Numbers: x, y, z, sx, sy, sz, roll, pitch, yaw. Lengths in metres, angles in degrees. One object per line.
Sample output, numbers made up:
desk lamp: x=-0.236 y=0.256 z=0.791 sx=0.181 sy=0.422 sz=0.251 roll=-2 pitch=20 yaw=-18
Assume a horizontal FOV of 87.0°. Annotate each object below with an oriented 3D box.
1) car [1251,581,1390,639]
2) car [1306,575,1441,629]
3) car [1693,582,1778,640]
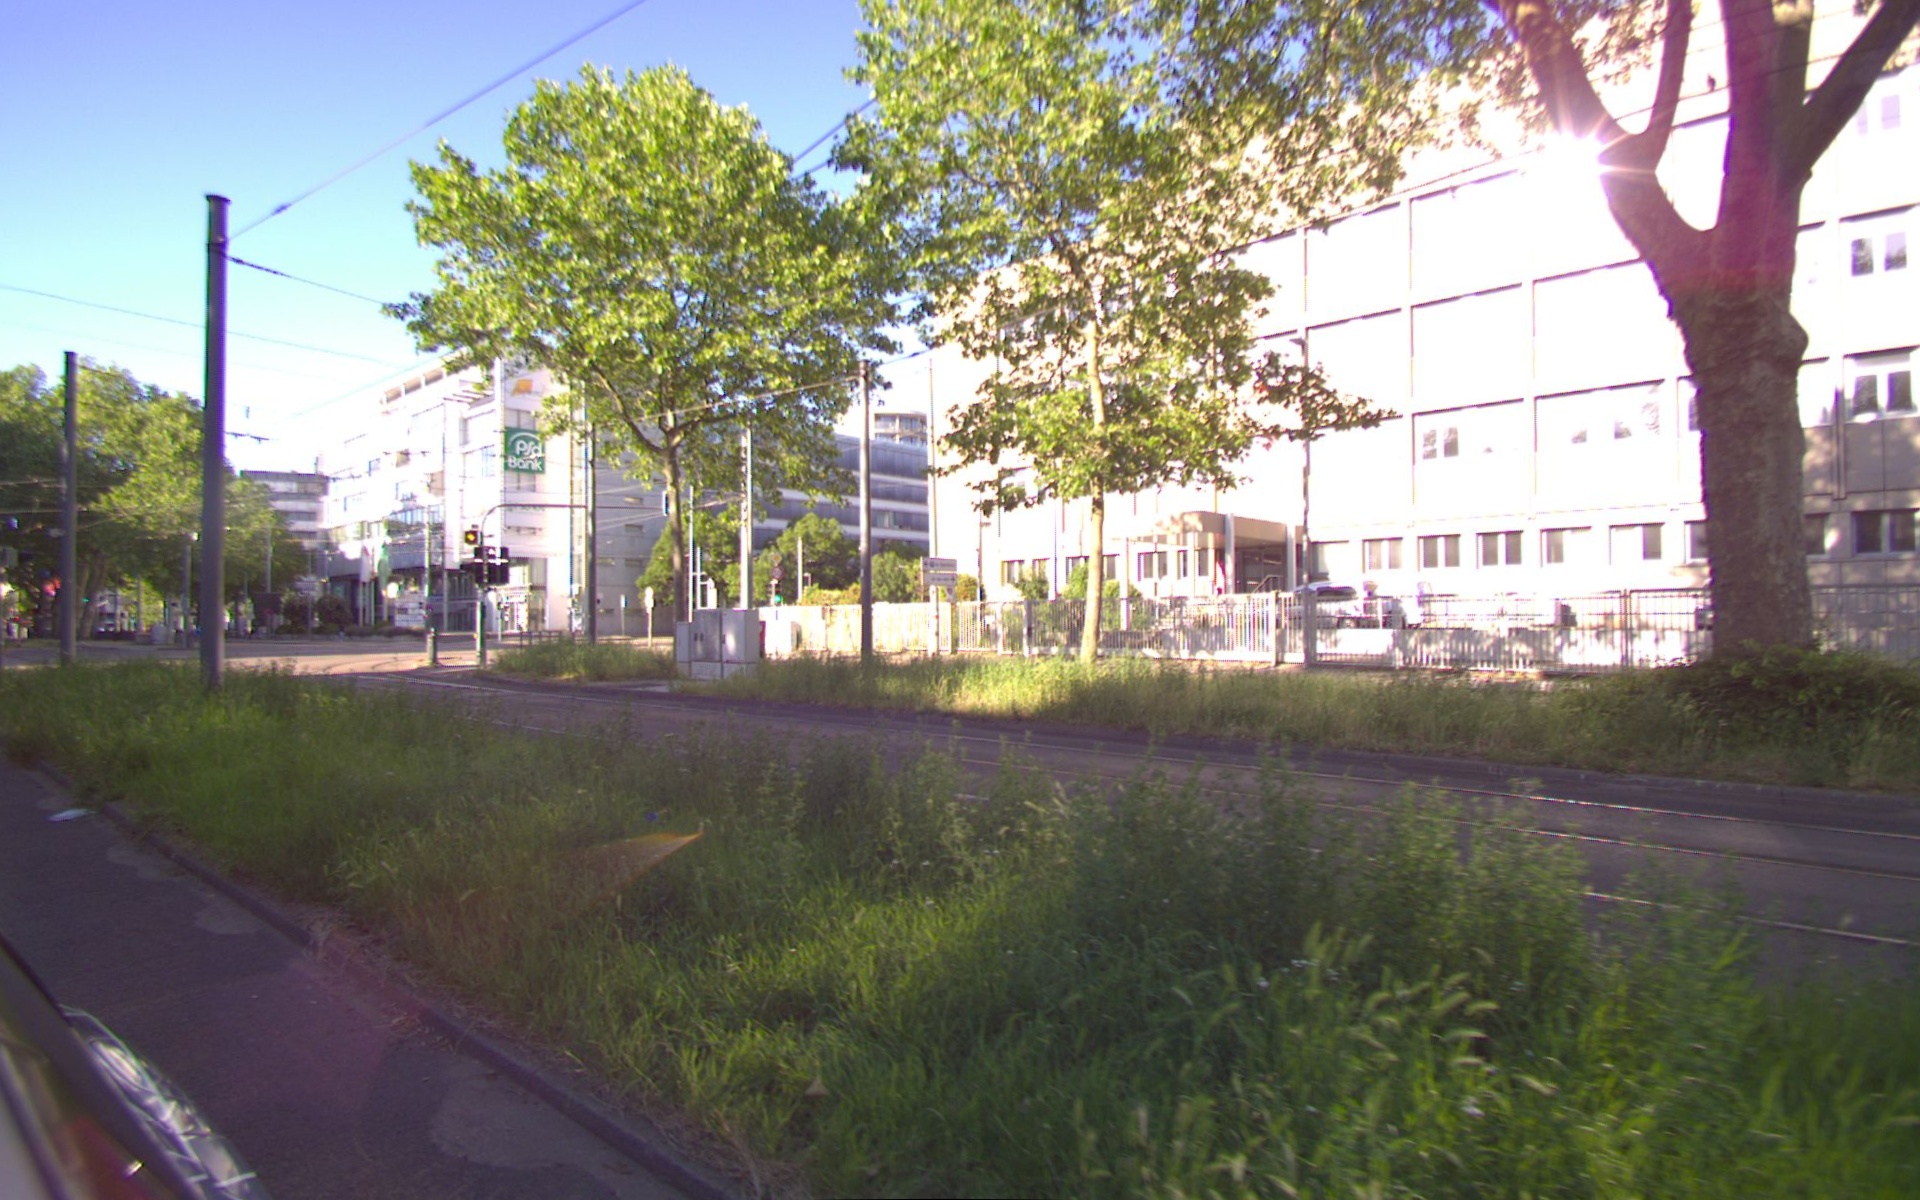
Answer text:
car: x=12.094 y=0.350 z=34.060 sx=3.999 sy=1.831 sz=1.828 roll=-2 pitch=-1 yaw=42
car: x=14.514 y=0.102 z=35.627 sx=3.999 sy=1.765 sz=1.828 roll=-2 pitch=-1 yaw=42
car: x=24.994 y=0.350 z=32.568 sx=1.853 sy=1.732 sz=4.222 roll=-2 pitch=-1 yaw=41
